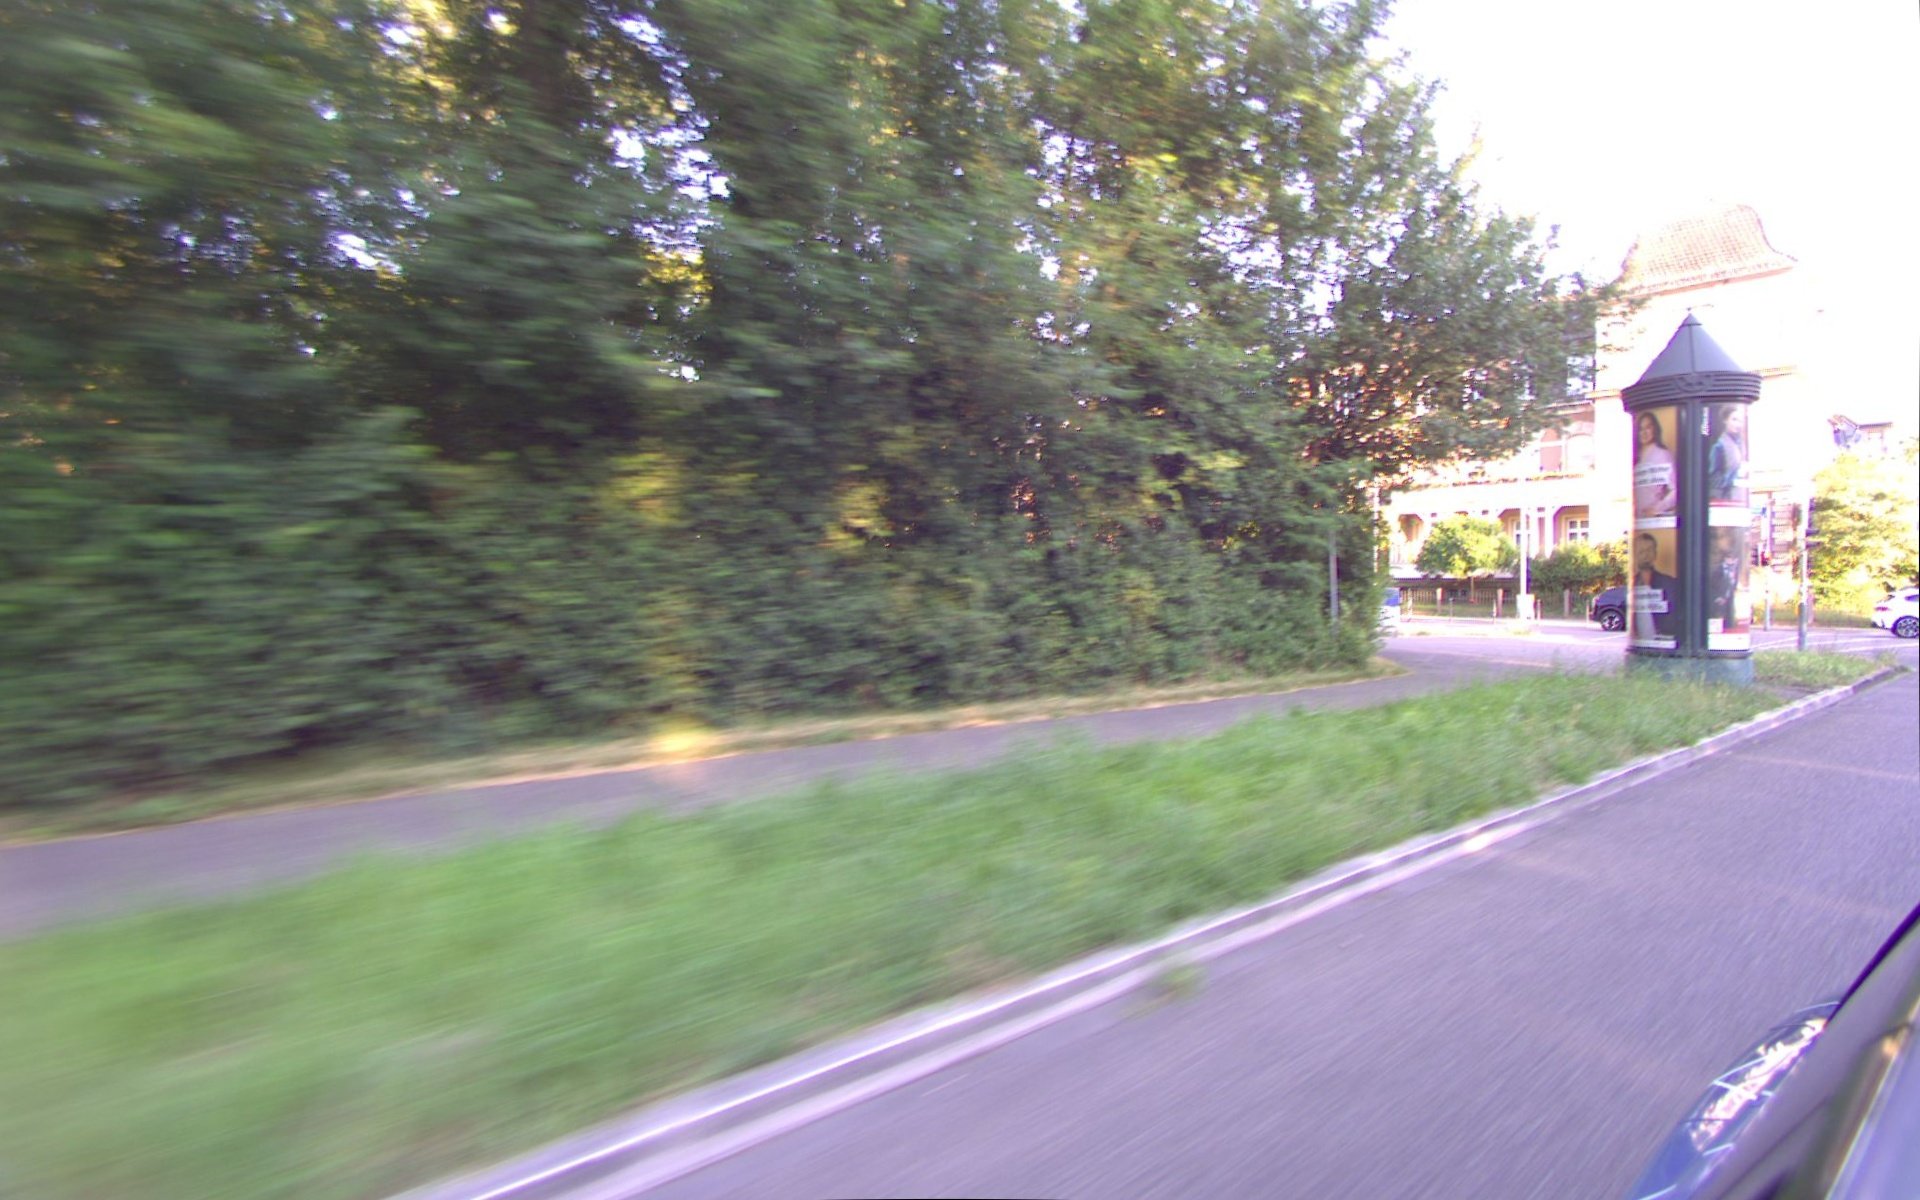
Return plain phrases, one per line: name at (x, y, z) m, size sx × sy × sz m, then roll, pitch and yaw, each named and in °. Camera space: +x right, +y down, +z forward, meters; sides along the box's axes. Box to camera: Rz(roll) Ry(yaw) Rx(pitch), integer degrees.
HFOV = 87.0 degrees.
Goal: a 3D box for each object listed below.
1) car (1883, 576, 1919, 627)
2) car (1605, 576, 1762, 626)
car at (29.504, 0.054, 29.212) m, size 4.172 × 1.484 × 1.731 m, roll 1°, pitch 1°, yaw 42°
car at (24.017, 0.003, 33.696) m, size 1.655 × 1.555 × 3.993 m, roll 0°, pitch 1°, yaw -41°
